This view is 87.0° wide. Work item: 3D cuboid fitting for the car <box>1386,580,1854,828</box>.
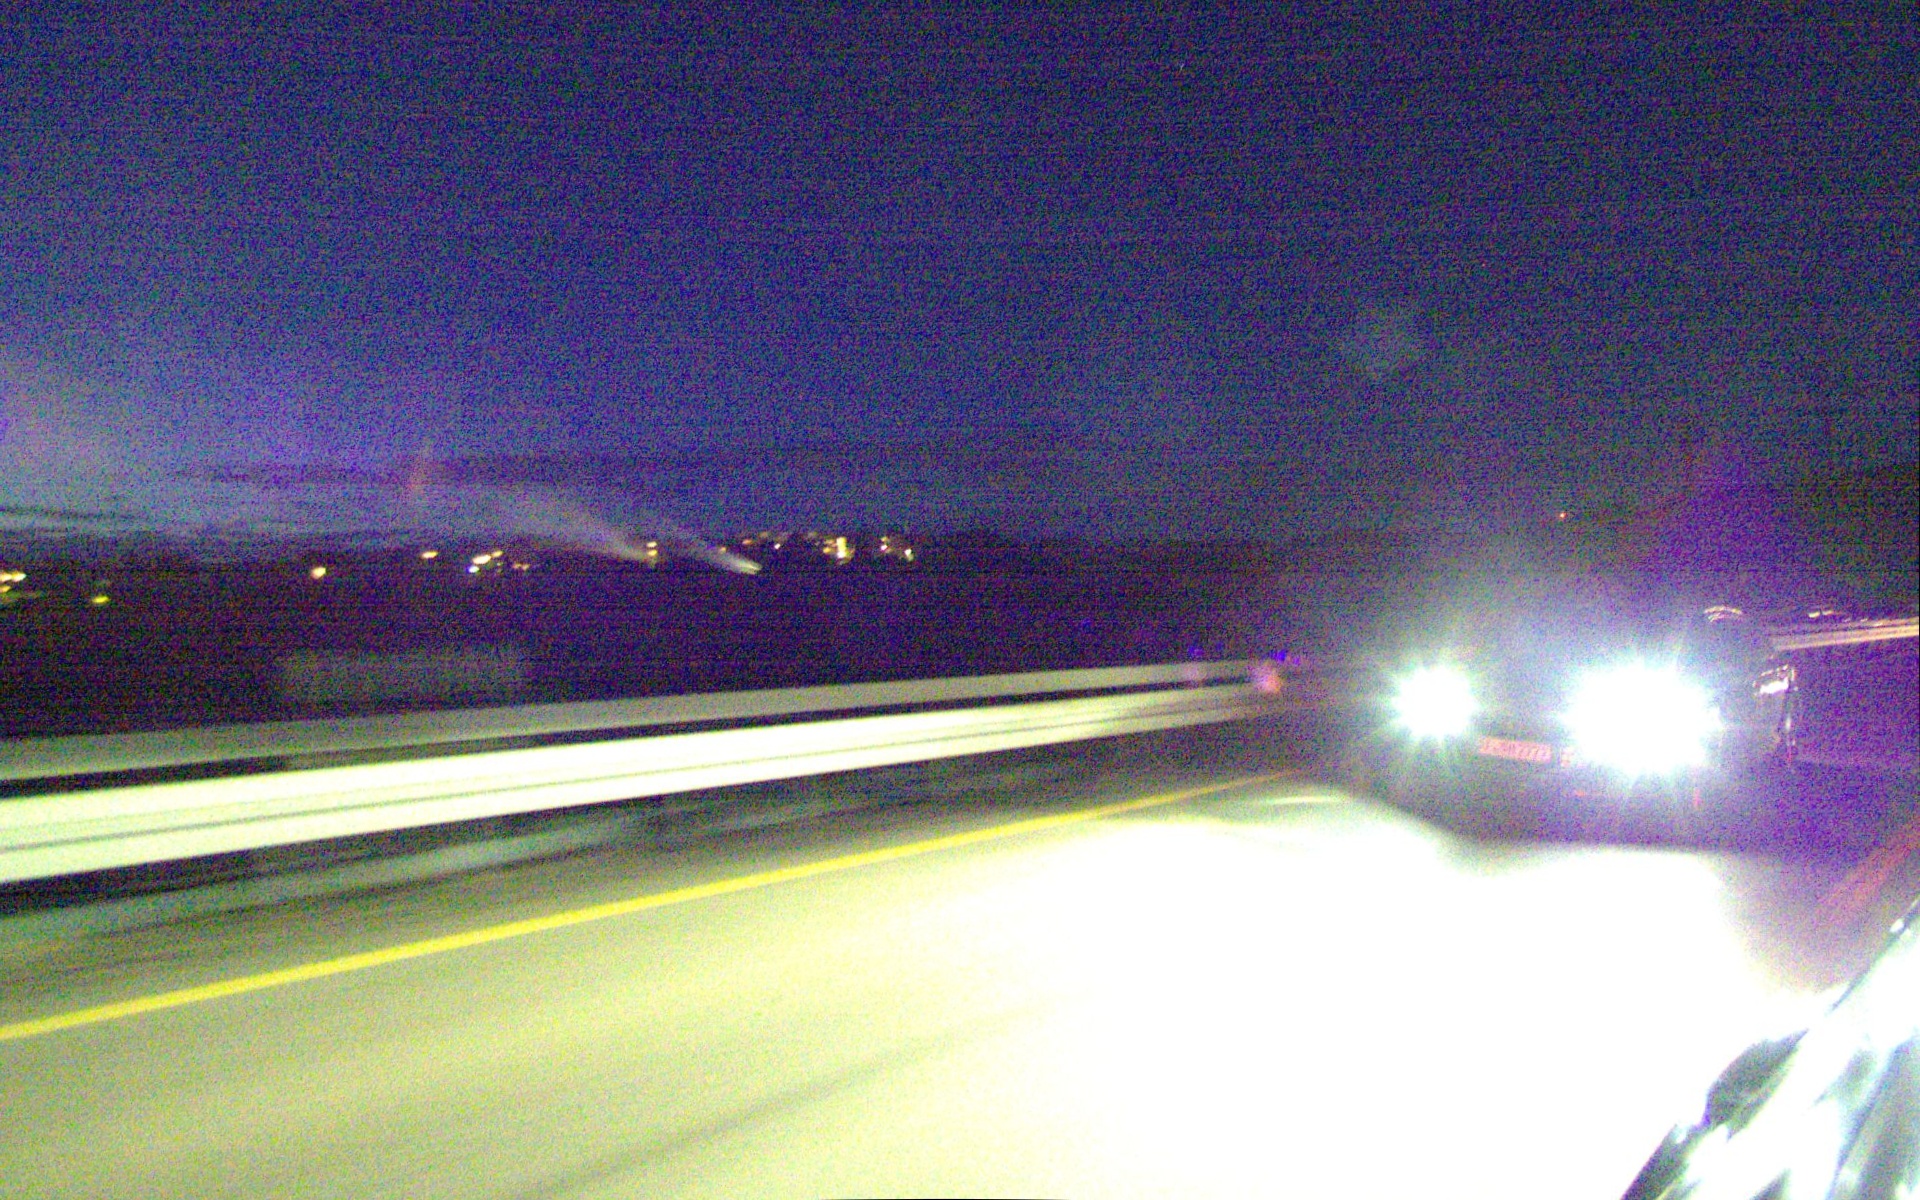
[{"bbox_3d":[5.611,0.626,8.321,4.786,1.444,1.813,0,2,-39],"label":"car"}]
